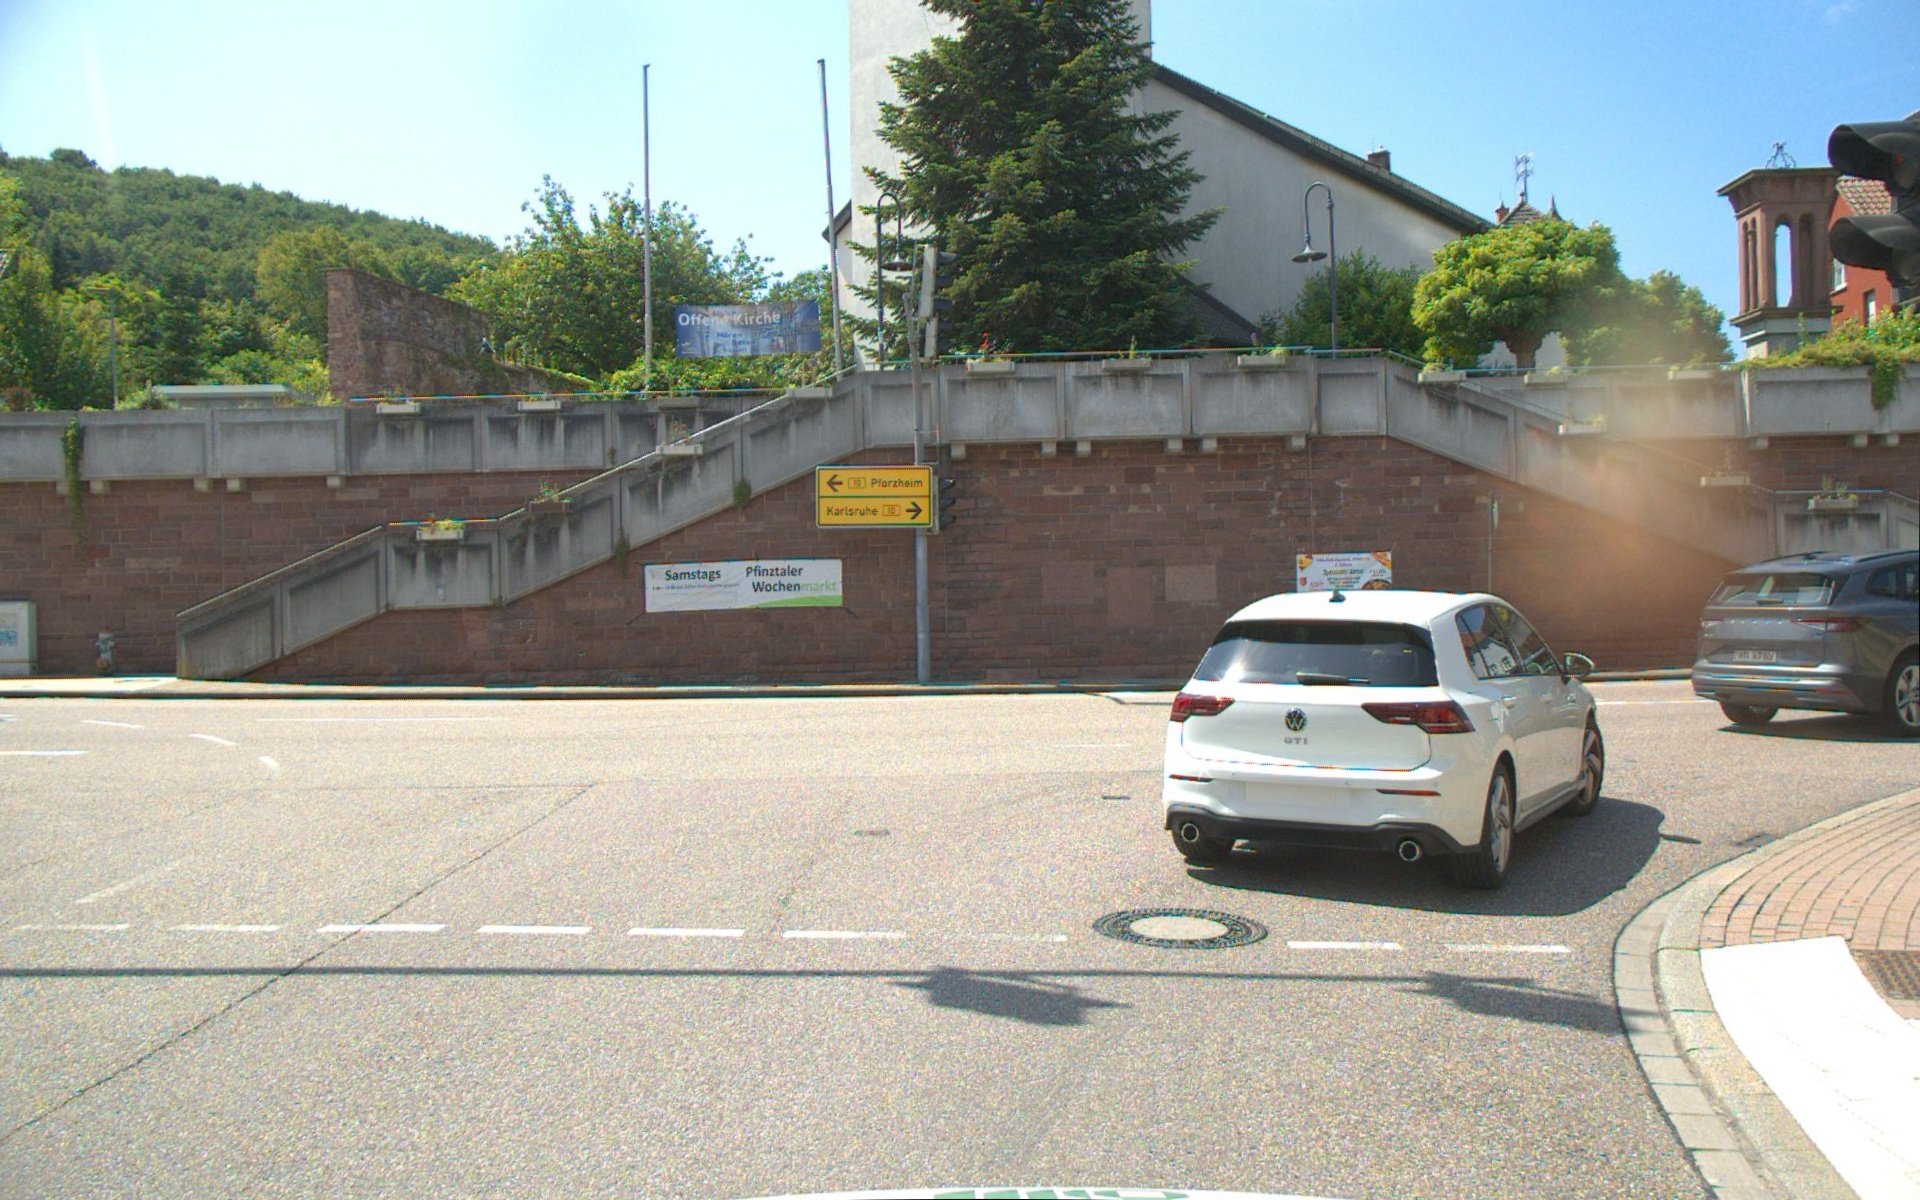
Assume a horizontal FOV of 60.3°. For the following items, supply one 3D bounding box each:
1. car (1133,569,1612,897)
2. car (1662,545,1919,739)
[{"bbox_3d":[2.580,0.605,9.623,1.749,1.484,3.857,-2,0,29],"label":"car"},{"bbox_3d":[8.926,0.288,15.685,4.262,1.610,1.938,-2,1,-28],"label":"car"}]
